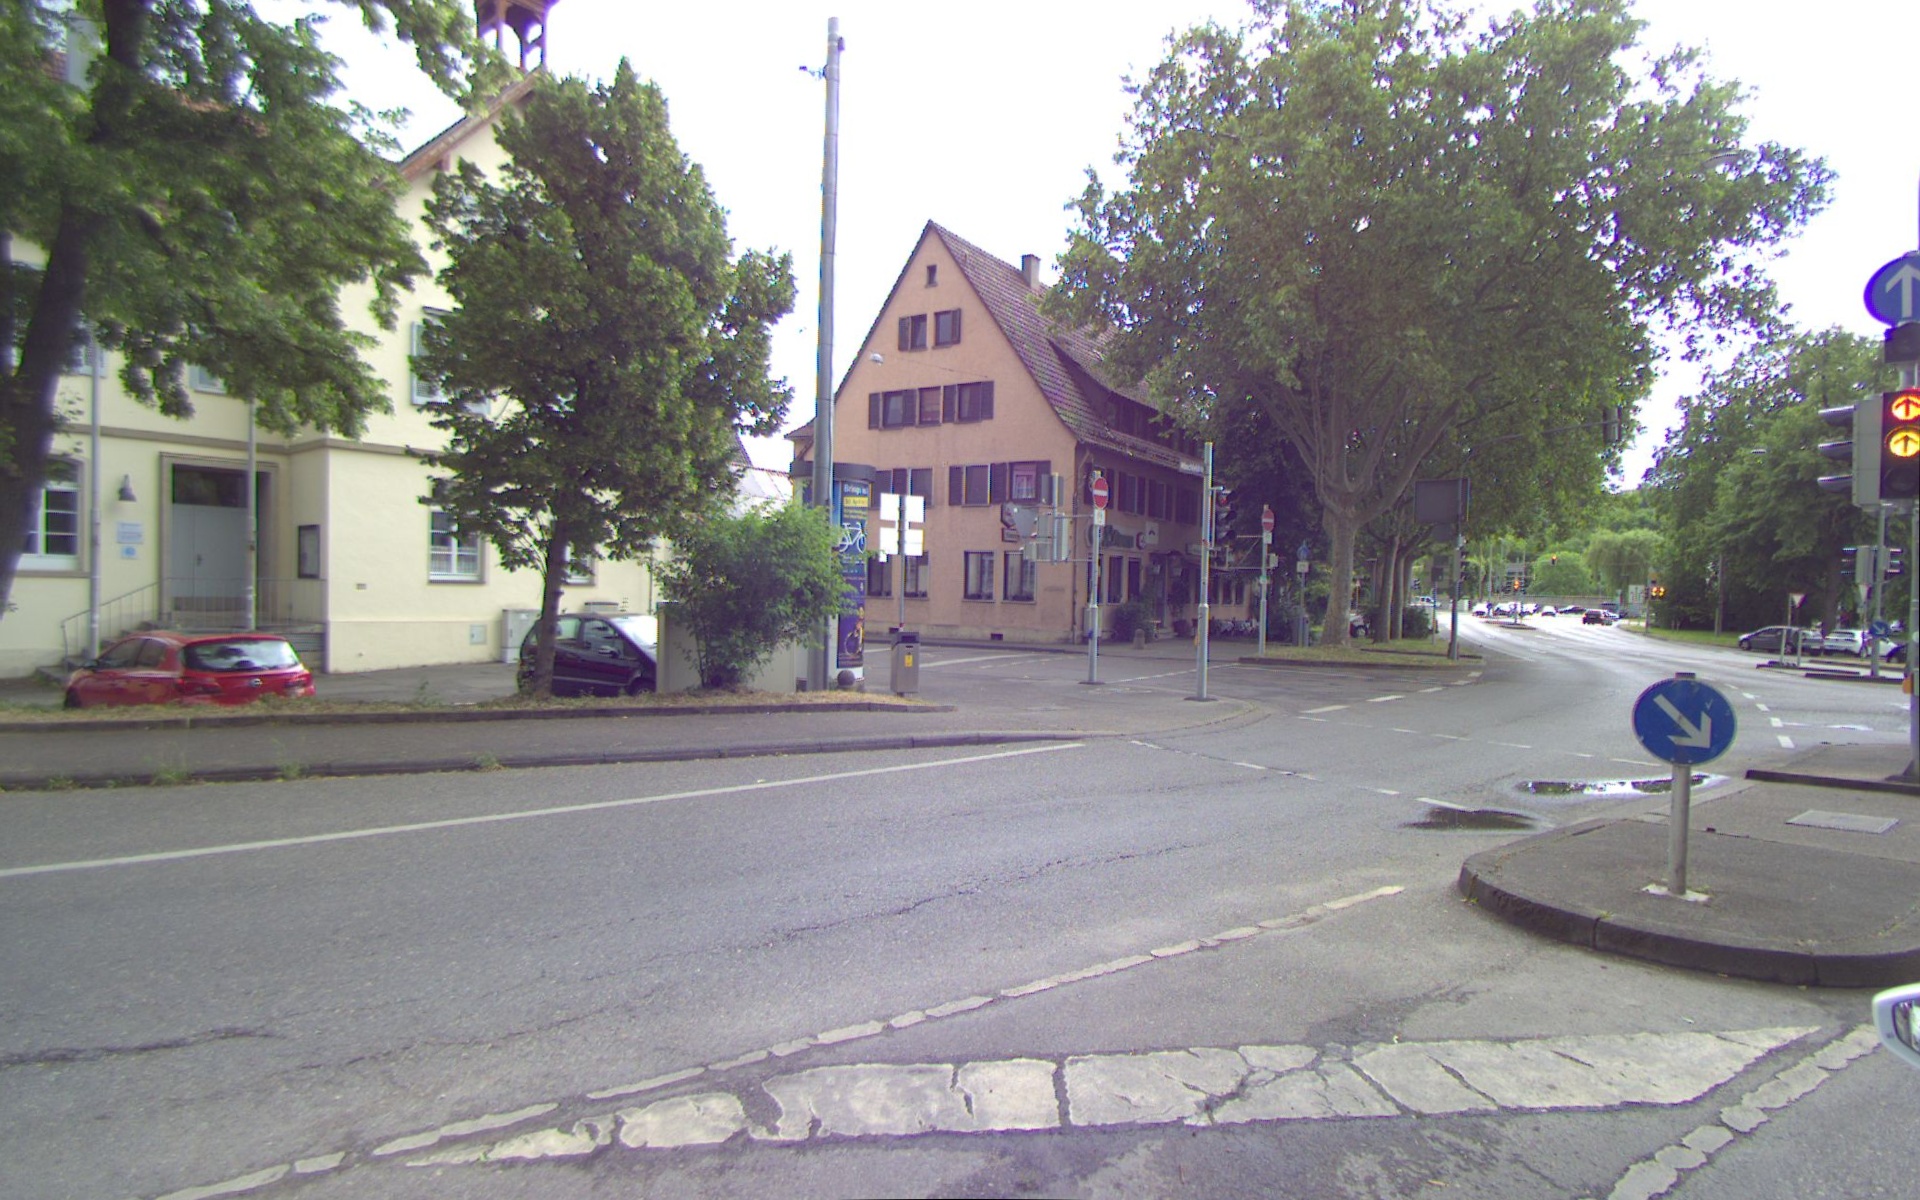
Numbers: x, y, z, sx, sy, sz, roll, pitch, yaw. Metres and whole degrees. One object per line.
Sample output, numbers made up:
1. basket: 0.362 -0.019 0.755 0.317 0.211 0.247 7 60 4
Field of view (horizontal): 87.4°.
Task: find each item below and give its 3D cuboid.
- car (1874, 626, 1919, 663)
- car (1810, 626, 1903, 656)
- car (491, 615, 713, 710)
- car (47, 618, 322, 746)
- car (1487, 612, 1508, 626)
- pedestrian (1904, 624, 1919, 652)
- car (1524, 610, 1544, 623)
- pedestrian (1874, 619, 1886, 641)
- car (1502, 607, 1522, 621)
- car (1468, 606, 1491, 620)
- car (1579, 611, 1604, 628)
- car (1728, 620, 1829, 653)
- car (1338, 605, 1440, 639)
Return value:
1. car: 39.653 1.876 40.946 1.542 1.423 3.493 2 1 -1
2. car: 47.596 2.169 53.330 4.194 1.399 1.758 2 1 -18
3. car: -5.888 0.964 16.501 3.335 1.327 1.482 2 0 25
4. car: -10.257 0.982 13.253 3.564 1.371 1.597 2 0 29
5. car: 68.954 2.435 128.815 1.773 1.608 4.398 0 1 36
6. pedestrian: 54.996 2.196 57.838 0.673 1.572 0.741 2 1 29
7. car: 83.576 2.367 146.210 1.967 1.677 4.411 2 1 36
8. pedestrian: 65.013 2.116 70.956 0.504 1.552 0.775 3 1 38
9. car: 75.094 1.903 136.694 1.885 1.787 4.737 2 1 35
10. car: 59.819 1.546 115.669 1.739 1.486 4.008 4 1 36
11. car: 60.781 1.860 96.692 1.796 1.529 4.566 1 0 30
12. car: 44.096 1.959 54.242 1.701 1.448 4.106 2 2 -7
13. car: 24.960 1.262 58.617 5.137 1.957 2.085 0 0 11
